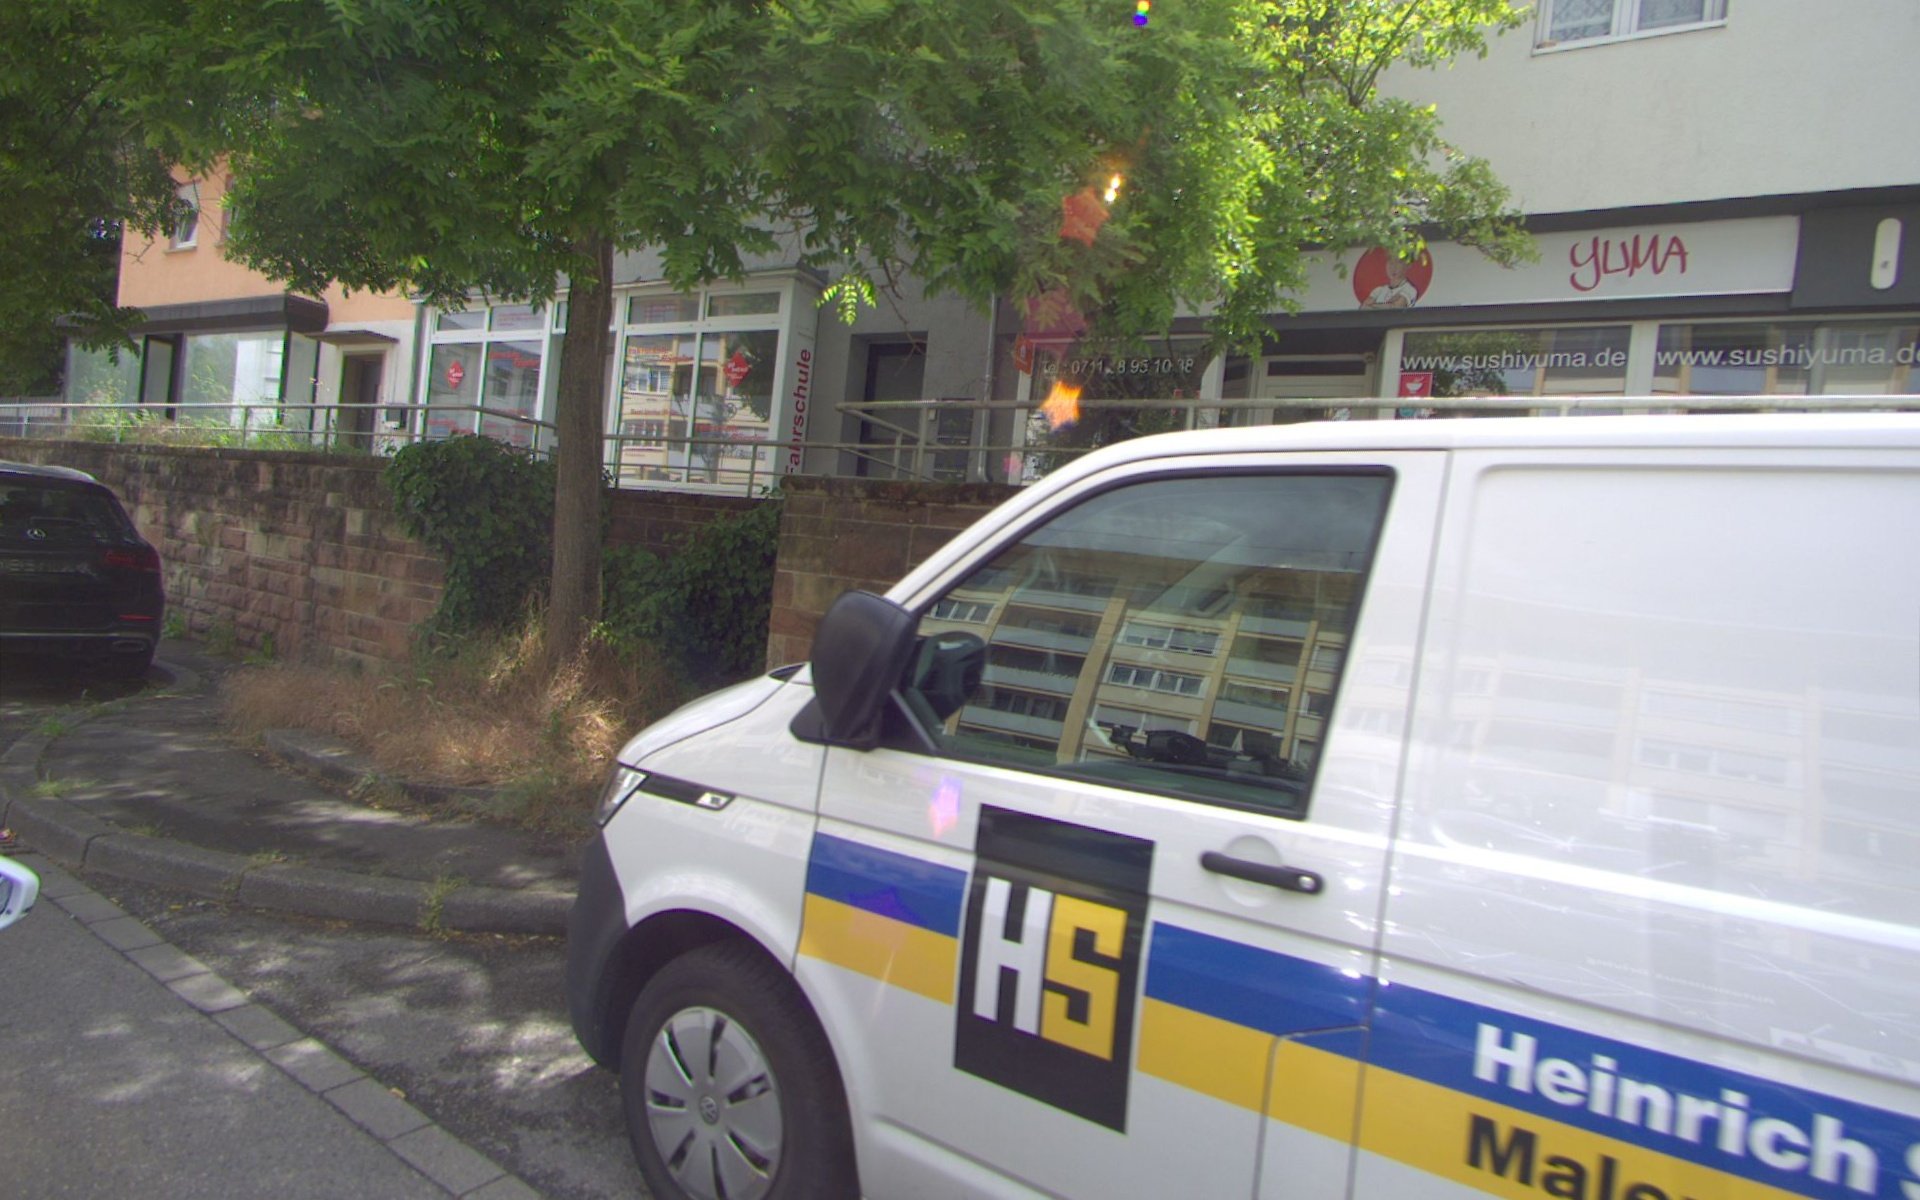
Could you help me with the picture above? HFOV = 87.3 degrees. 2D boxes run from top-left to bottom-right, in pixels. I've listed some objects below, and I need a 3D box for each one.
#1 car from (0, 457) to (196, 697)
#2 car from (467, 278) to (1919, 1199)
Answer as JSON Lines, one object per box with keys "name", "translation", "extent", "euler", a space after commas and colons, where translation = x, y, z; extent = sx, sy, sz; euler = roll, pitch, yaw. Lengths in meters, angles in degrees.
{"name": "car", "translation": [-8.270, -0.366, 8.179], "extent": [4.374, 1.639, 1.790], "euler": [7, 2, 32]}
{"name": "car", "translation": [1.412, 0.670, 2.108], "extent": [4.931, 1.994, 1.975], "euler": [7, 0, 33]}
